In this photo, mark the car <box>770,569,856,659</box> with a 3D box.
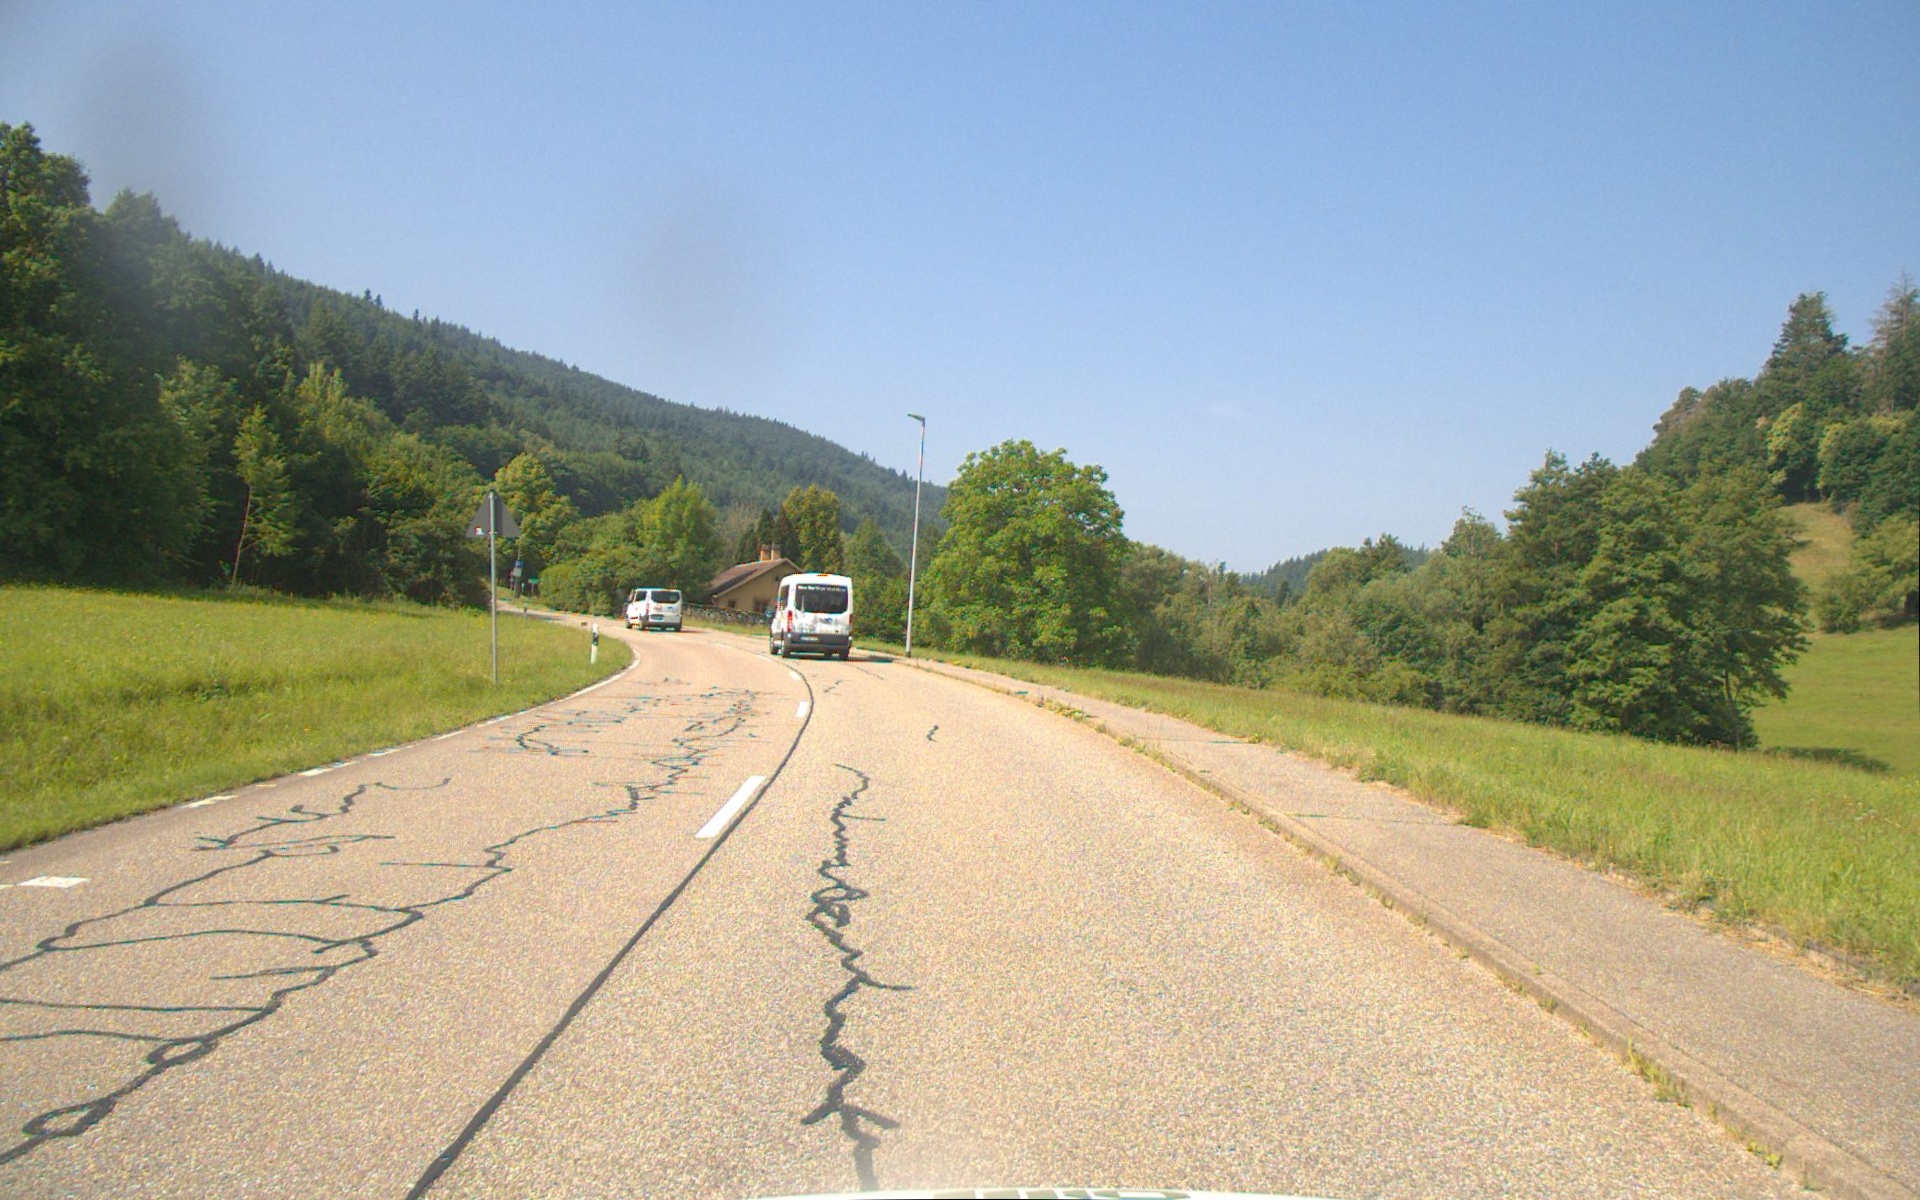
[{"bbox_3d":[-4.532,0.425,50.296,2.182,2.570,4.972,-1,0,-10],"label":"car"}]

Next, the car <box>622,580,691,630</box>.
[{"bbox_3d":[-14.746,0.250,80.183,2.193,2.327,4.947,-1,-1,-24],"label":"car"}]
